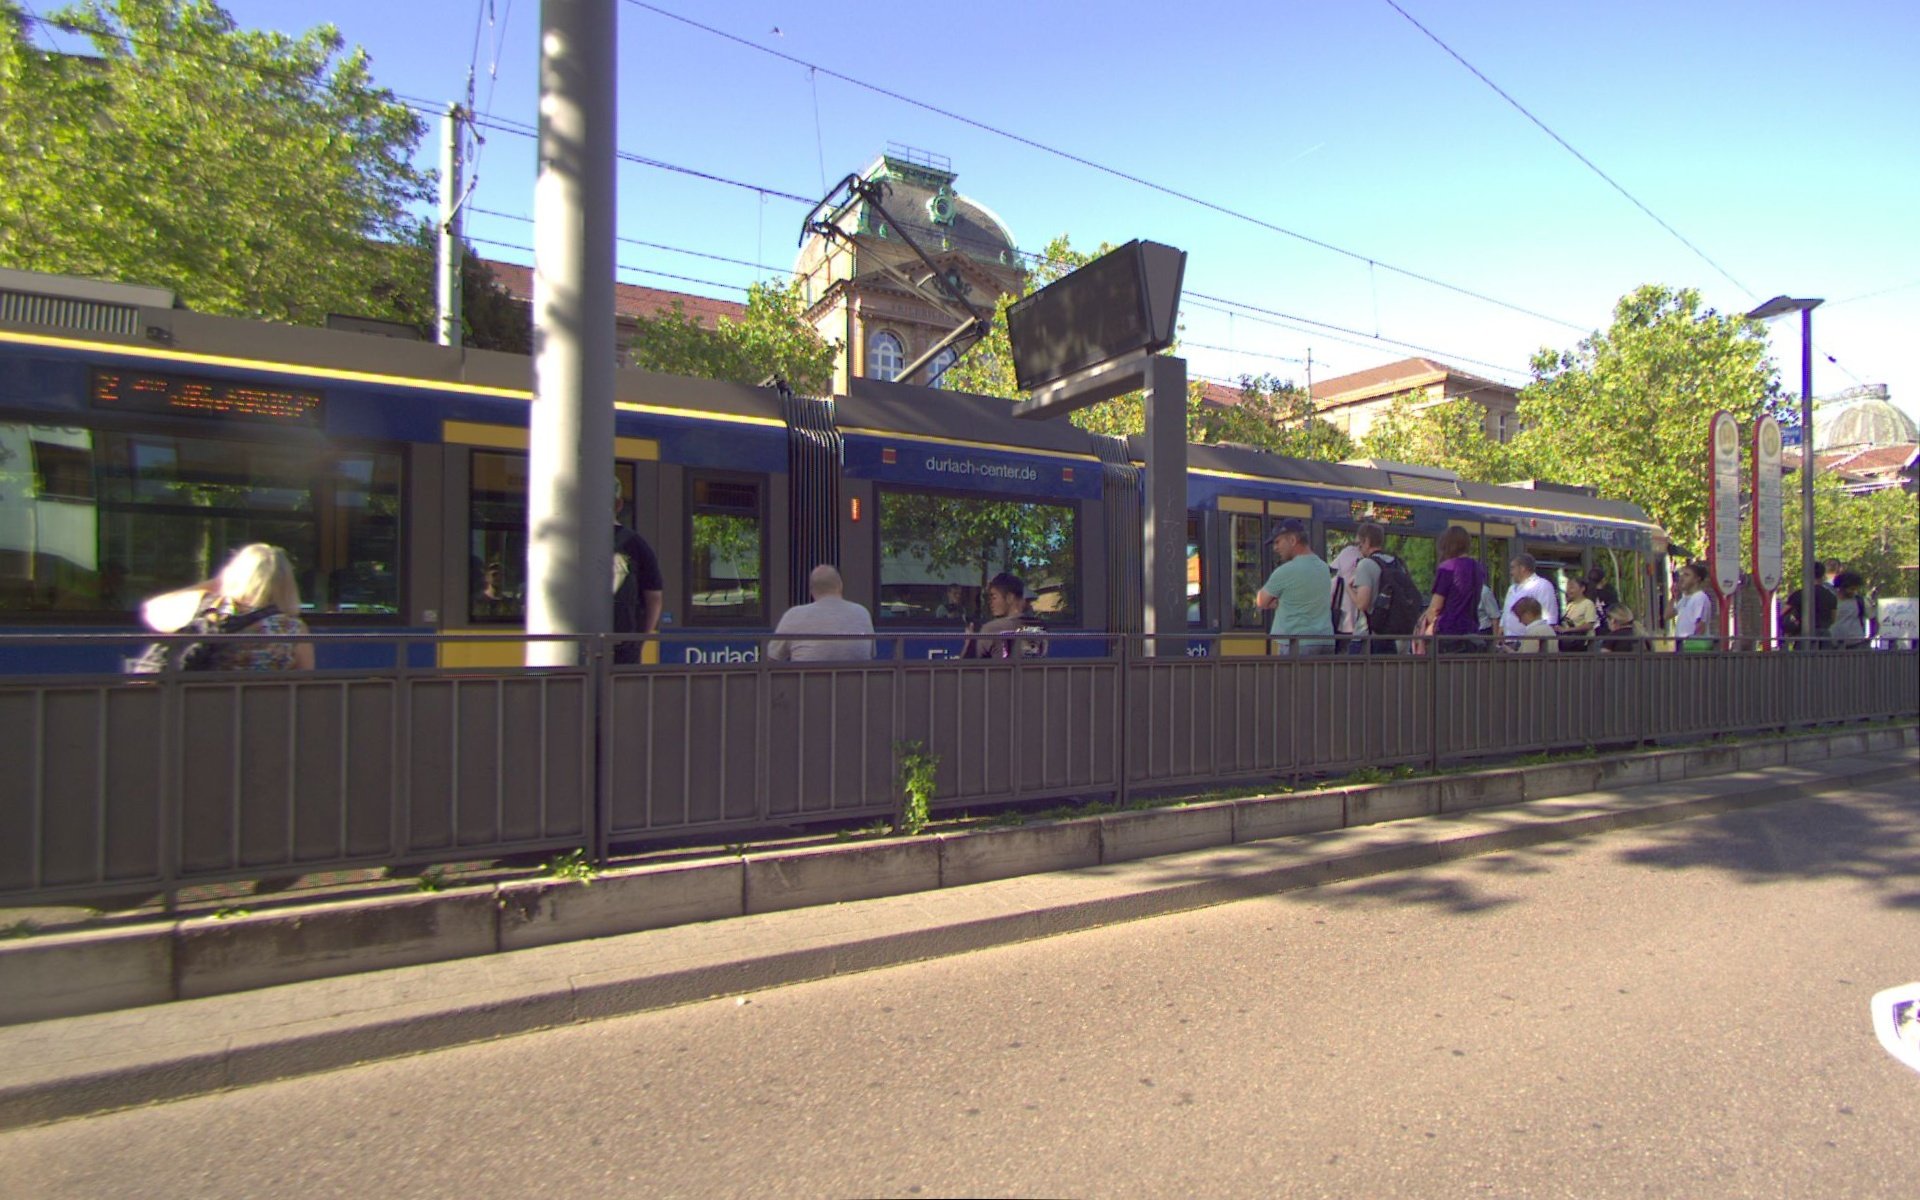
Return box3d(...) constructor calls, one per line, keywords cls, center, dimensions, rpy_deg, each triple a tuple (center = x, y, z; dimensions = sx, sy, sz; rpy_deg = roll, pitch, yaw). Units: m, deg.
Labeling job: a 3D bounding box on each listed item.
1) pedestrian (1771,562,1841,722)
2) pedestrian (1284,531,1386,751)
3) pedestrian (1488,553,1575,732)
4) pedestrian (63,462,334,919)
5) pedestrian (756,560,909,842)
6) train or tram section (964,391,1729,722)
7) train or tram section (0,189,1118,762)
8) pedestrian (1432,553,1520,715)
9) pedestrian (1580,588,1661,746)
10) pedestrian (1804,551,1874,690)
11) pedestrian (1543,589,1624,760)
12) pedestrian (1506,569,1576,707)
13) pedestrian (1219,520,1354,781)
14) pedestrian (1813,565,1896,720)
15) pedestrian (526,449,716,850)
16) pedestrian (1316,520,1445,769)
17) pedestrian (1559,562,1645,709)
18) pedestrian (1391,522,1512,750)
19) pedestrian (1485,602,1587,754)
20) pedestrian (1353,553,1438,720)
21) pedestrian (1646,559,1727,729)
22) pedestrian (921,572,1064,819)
box3d(cls="pedestrian", center=(9.603, 0.467, 11.401), dimensions=(0.542, 1.757, 0.536), rpy_deg=(-1, -2, 45))
box3d(cls="pedestrian", center=(3.090, 0.332, 8.285), dimensions=(0.614, 1.731, 0.512), rpy_deg=(1, -2, -30))
box3d(cls="pedestrian", center=(5.676, 0.417, 9.997), dimensions=(0.599, 1.724, 0.507), rpy_deg=(0, -1, 8))
box3d(cls="pedestrian", center=(-2.887, 0.317, 3.897), dimensions=(0.744, 1.529, 0.771), rpy_deg=(1, -2, -33))
box3d(cls="pedestrian", center=(-0.649, 0.485, 5.094), dimensions=(0.598, 1.316, 0.531), rpy_deg=(1, -2, -33))
box3d(cls="train or tram section", center=(6.391, -0.223, 14.591), dimensions=(12.961, 3.303, 2.900), rpy_deg=(2, 0, -31))
box3d(cls="train or tram section", center=(-5.946, -0.722, 7.252), dimensions=(15.709, 3.303, 2.900), rpy_deg=(2, 0, -31))
box3d(cls="pedestrian", center=(5.530, 0.364, 10.783), dimensions=(0.616, 1.671, 0.615), rpy_deg=(1, -2, -34))
box3d(cls="pedestrian", center=(5.779, 0.572, 8.789), dimensions=(0.501, 1.333, 0.413), rpy_deg=(1, -2, -32))
box3d(cls="pedestrian", center=(11.435, 0.267, 13.070), dimensions=(0.534, 1.757, 0.544), rpy_deg=(1, -2, -34))
box3d(cls="pedestrian", center=(6.804, 0.794, 10.966), dimensions=(0.605, 1.793, 0.550), rpy_deg=(1, -2, -34))
box3d(cls="pedestrian", center=(7.521, 0.484, 13.006), dimensions=(0.540, 1.724, 0.605), rpy_deg=(1, -2, -34))
box3d(cls="pedestrian", center=(2.199, 0.332, 6.798), dimensions=(0.564, 1.655, 0.658), rpy_deg=(1, -2, -29))
box3d(cls="pedestrian", center=(10.418, 0.487, 11.712), dimensions=(0.539, 1.757, 0.540), rpy_deg=(0, -1, 20))
box3d(cls="pedestrian", center=(-1.689, 0.235, 4.978), dimensions=(0.716, 1.775, 0.771), rpy_deg=(1, -2, -33))
box3d(cls="pedestrian", center=(3.064, 0.317, 7.345), dimensions=(0.564, 1.718, 0.658), rpy_deg=(1, -2, -29))
box3d(cls="pedestrian", center=(7.846, 0.426, 12.278), dimensions=(0.739, 1.724, 0.629), rpy_deg=(1, -2, -34))
box3d(cls="pedestrian", center=(3.903, 0.284, 8.005), dimensions=(0.564, 1.718, 0.658), rpy_deg=(1, -2, -29))
box3d(cls="pedestrian", center=(4.771, 0.629, 8.335), dimensions=(0.524, 1.208, 0.542), rpy_deg=(1, -2, -30))
box3d(cls="pedestrian", center=(4.161, 0.347, 9.610), dimensions=(0.524, 1.539, 0.542), rpy_deg=(1, -2, -30))
box3d(cls="pedestrian", center=(7.644, 0.458, 10.571), dimensions=(0.605, 1.724, 0.502), rpy_deg=(1, -2, -34))
box3d(cls="pedestrian", center=(0.171, 0.501, 5.522), dimensions=(0.598, 1.263, 0.531), rpy_deg=(1, -2, -32))
